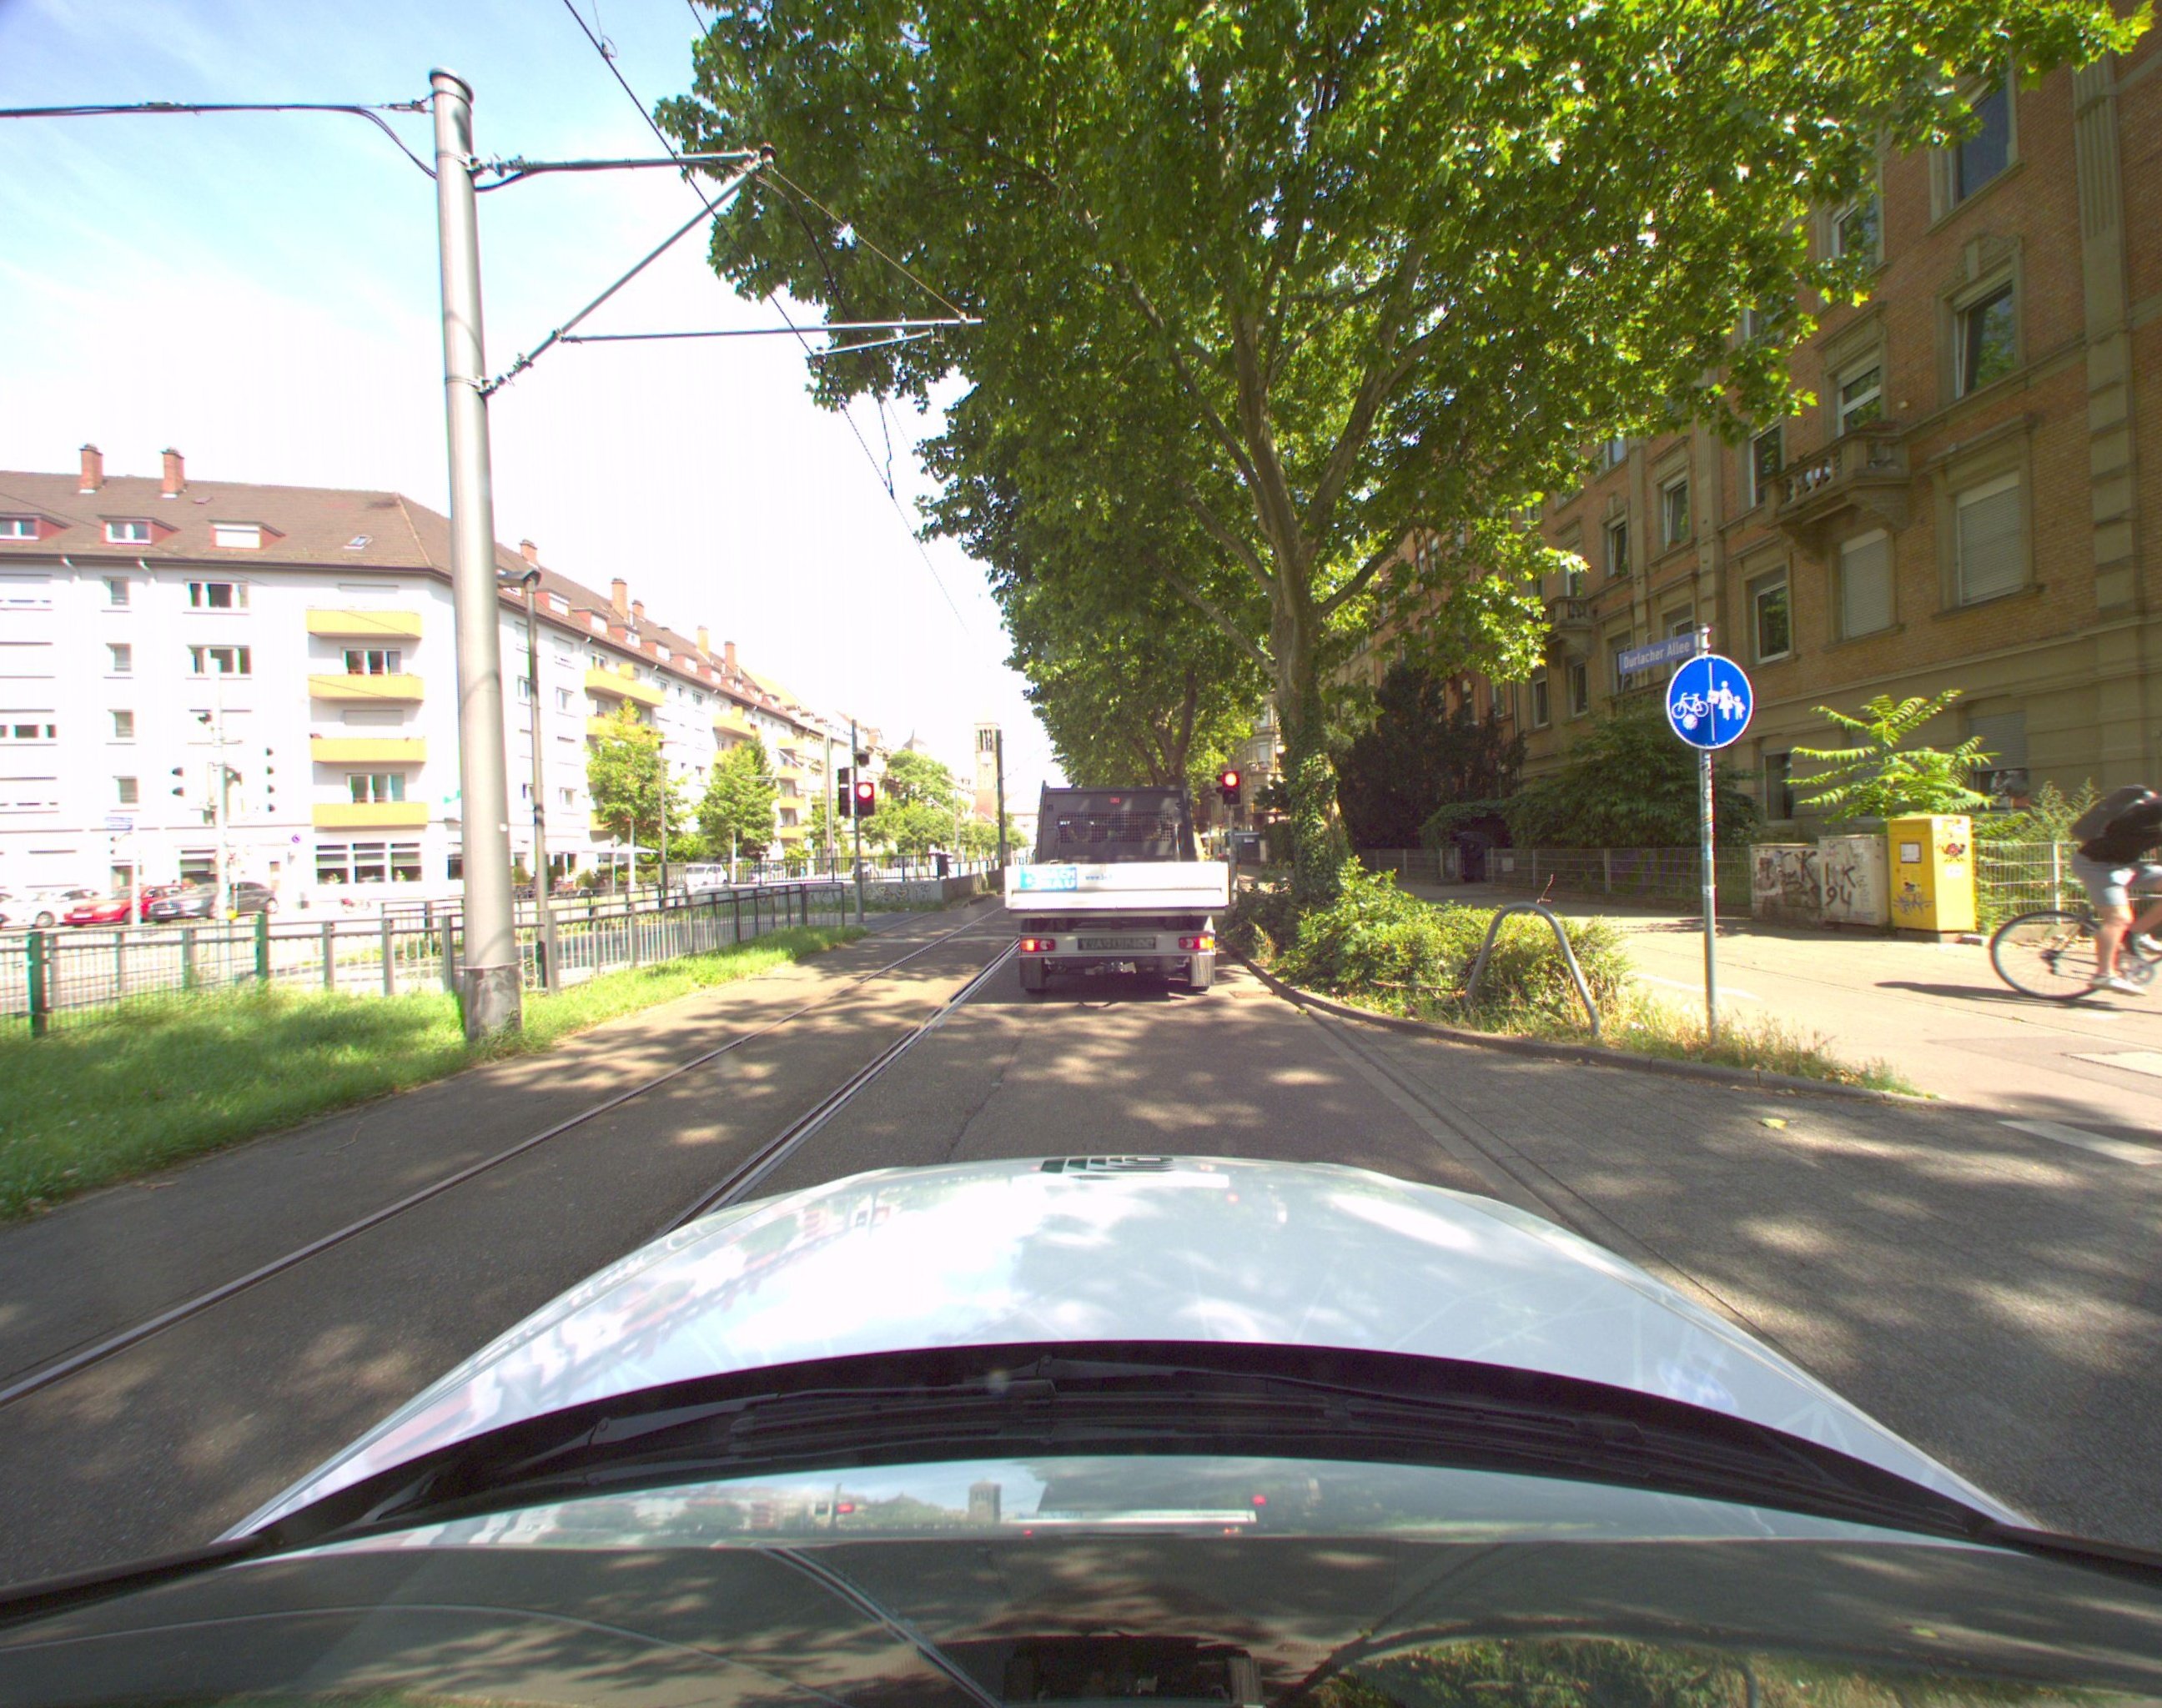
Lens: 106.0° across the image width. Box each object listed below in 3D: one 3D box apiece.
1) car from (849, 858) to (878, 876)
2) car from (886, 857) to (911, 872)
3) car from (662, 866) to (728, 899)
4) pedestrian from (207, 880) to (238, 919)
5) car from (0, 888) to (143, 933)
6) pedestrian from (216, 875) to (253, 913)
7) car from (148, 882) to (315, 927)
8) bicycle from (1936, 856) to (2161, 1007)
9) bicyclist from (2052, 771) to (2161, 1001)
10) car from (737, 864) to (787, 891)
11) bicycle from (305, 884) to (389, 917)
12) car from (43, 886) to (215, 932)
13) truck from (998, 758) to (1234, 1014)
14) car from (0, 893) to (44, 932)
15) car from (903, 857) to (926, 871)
[{"bbox_3d":[-19.610,1.172,73.667,1.767,1.498,3.994,-2,0,-4],"label":"car"},{"bbox_3d":[-19.470,1.131,87.037,1.764,1.498,4.000,-2,0,0],"label":"car"},{"bbox_3d":[-20.519,1.468,43.446,1.767,1.498,3.994,-4,0,-4],"label":"car"},{"bbox_3d":[-36.421,1.918,34.553,0.690,1.572,0.542,-2,0,-22],"label":"pedestrian"},{"bbox_3d":[-39.286,2.152,31.257,1.930,1.406,4.158,-2,0,-6],"label":"car"},{"bbox_3d":[-36.585,1.738,35.205,0.861,1.572,0.685,-2,0,-22],"label":"pedestrian"},{"bbox_3d":[-33.141,1.919,32.001,1.830,1.376,4.637,-2,0,-4],"label":"car"},{"bbox_3d":[7.812,0.555,6.057,0.534,1.049,1.909,-2,0,-26],"label":"bicycle"},{"bbox_3d":[7.821,0.218,6.005,0.626,1.623,0.689,-2,0,-27],"label":"bicyclist"},{"bbox_3d":[-20.307,1.439,52.027,1.767,1.498,3.994,-4,0,-4],"label":"car"},{"bbox_3d":[-30.078,1.876,33.467,0.908,1.137,2.807,-2,0,-2],"label":"bicycle"},{"bbox_3d":[-36.499,2.043,31.427,1.930,1.406,4.158,-2,0,-6],"label":"car"},{"bbox_3d":[0.422,0.285,9.739,2.130,2.319,4.404,-1,0,3],"label":"truck"},{"bbox_3d":[-41.837,2.299,30.052,1.930,1.406,4.158,-2,0,-6],"label":"car"},{"bbox_3d":[-19.394,1.106,94.878,1.764,1.498,4.000,-2,0,0],"label":"car"}]
